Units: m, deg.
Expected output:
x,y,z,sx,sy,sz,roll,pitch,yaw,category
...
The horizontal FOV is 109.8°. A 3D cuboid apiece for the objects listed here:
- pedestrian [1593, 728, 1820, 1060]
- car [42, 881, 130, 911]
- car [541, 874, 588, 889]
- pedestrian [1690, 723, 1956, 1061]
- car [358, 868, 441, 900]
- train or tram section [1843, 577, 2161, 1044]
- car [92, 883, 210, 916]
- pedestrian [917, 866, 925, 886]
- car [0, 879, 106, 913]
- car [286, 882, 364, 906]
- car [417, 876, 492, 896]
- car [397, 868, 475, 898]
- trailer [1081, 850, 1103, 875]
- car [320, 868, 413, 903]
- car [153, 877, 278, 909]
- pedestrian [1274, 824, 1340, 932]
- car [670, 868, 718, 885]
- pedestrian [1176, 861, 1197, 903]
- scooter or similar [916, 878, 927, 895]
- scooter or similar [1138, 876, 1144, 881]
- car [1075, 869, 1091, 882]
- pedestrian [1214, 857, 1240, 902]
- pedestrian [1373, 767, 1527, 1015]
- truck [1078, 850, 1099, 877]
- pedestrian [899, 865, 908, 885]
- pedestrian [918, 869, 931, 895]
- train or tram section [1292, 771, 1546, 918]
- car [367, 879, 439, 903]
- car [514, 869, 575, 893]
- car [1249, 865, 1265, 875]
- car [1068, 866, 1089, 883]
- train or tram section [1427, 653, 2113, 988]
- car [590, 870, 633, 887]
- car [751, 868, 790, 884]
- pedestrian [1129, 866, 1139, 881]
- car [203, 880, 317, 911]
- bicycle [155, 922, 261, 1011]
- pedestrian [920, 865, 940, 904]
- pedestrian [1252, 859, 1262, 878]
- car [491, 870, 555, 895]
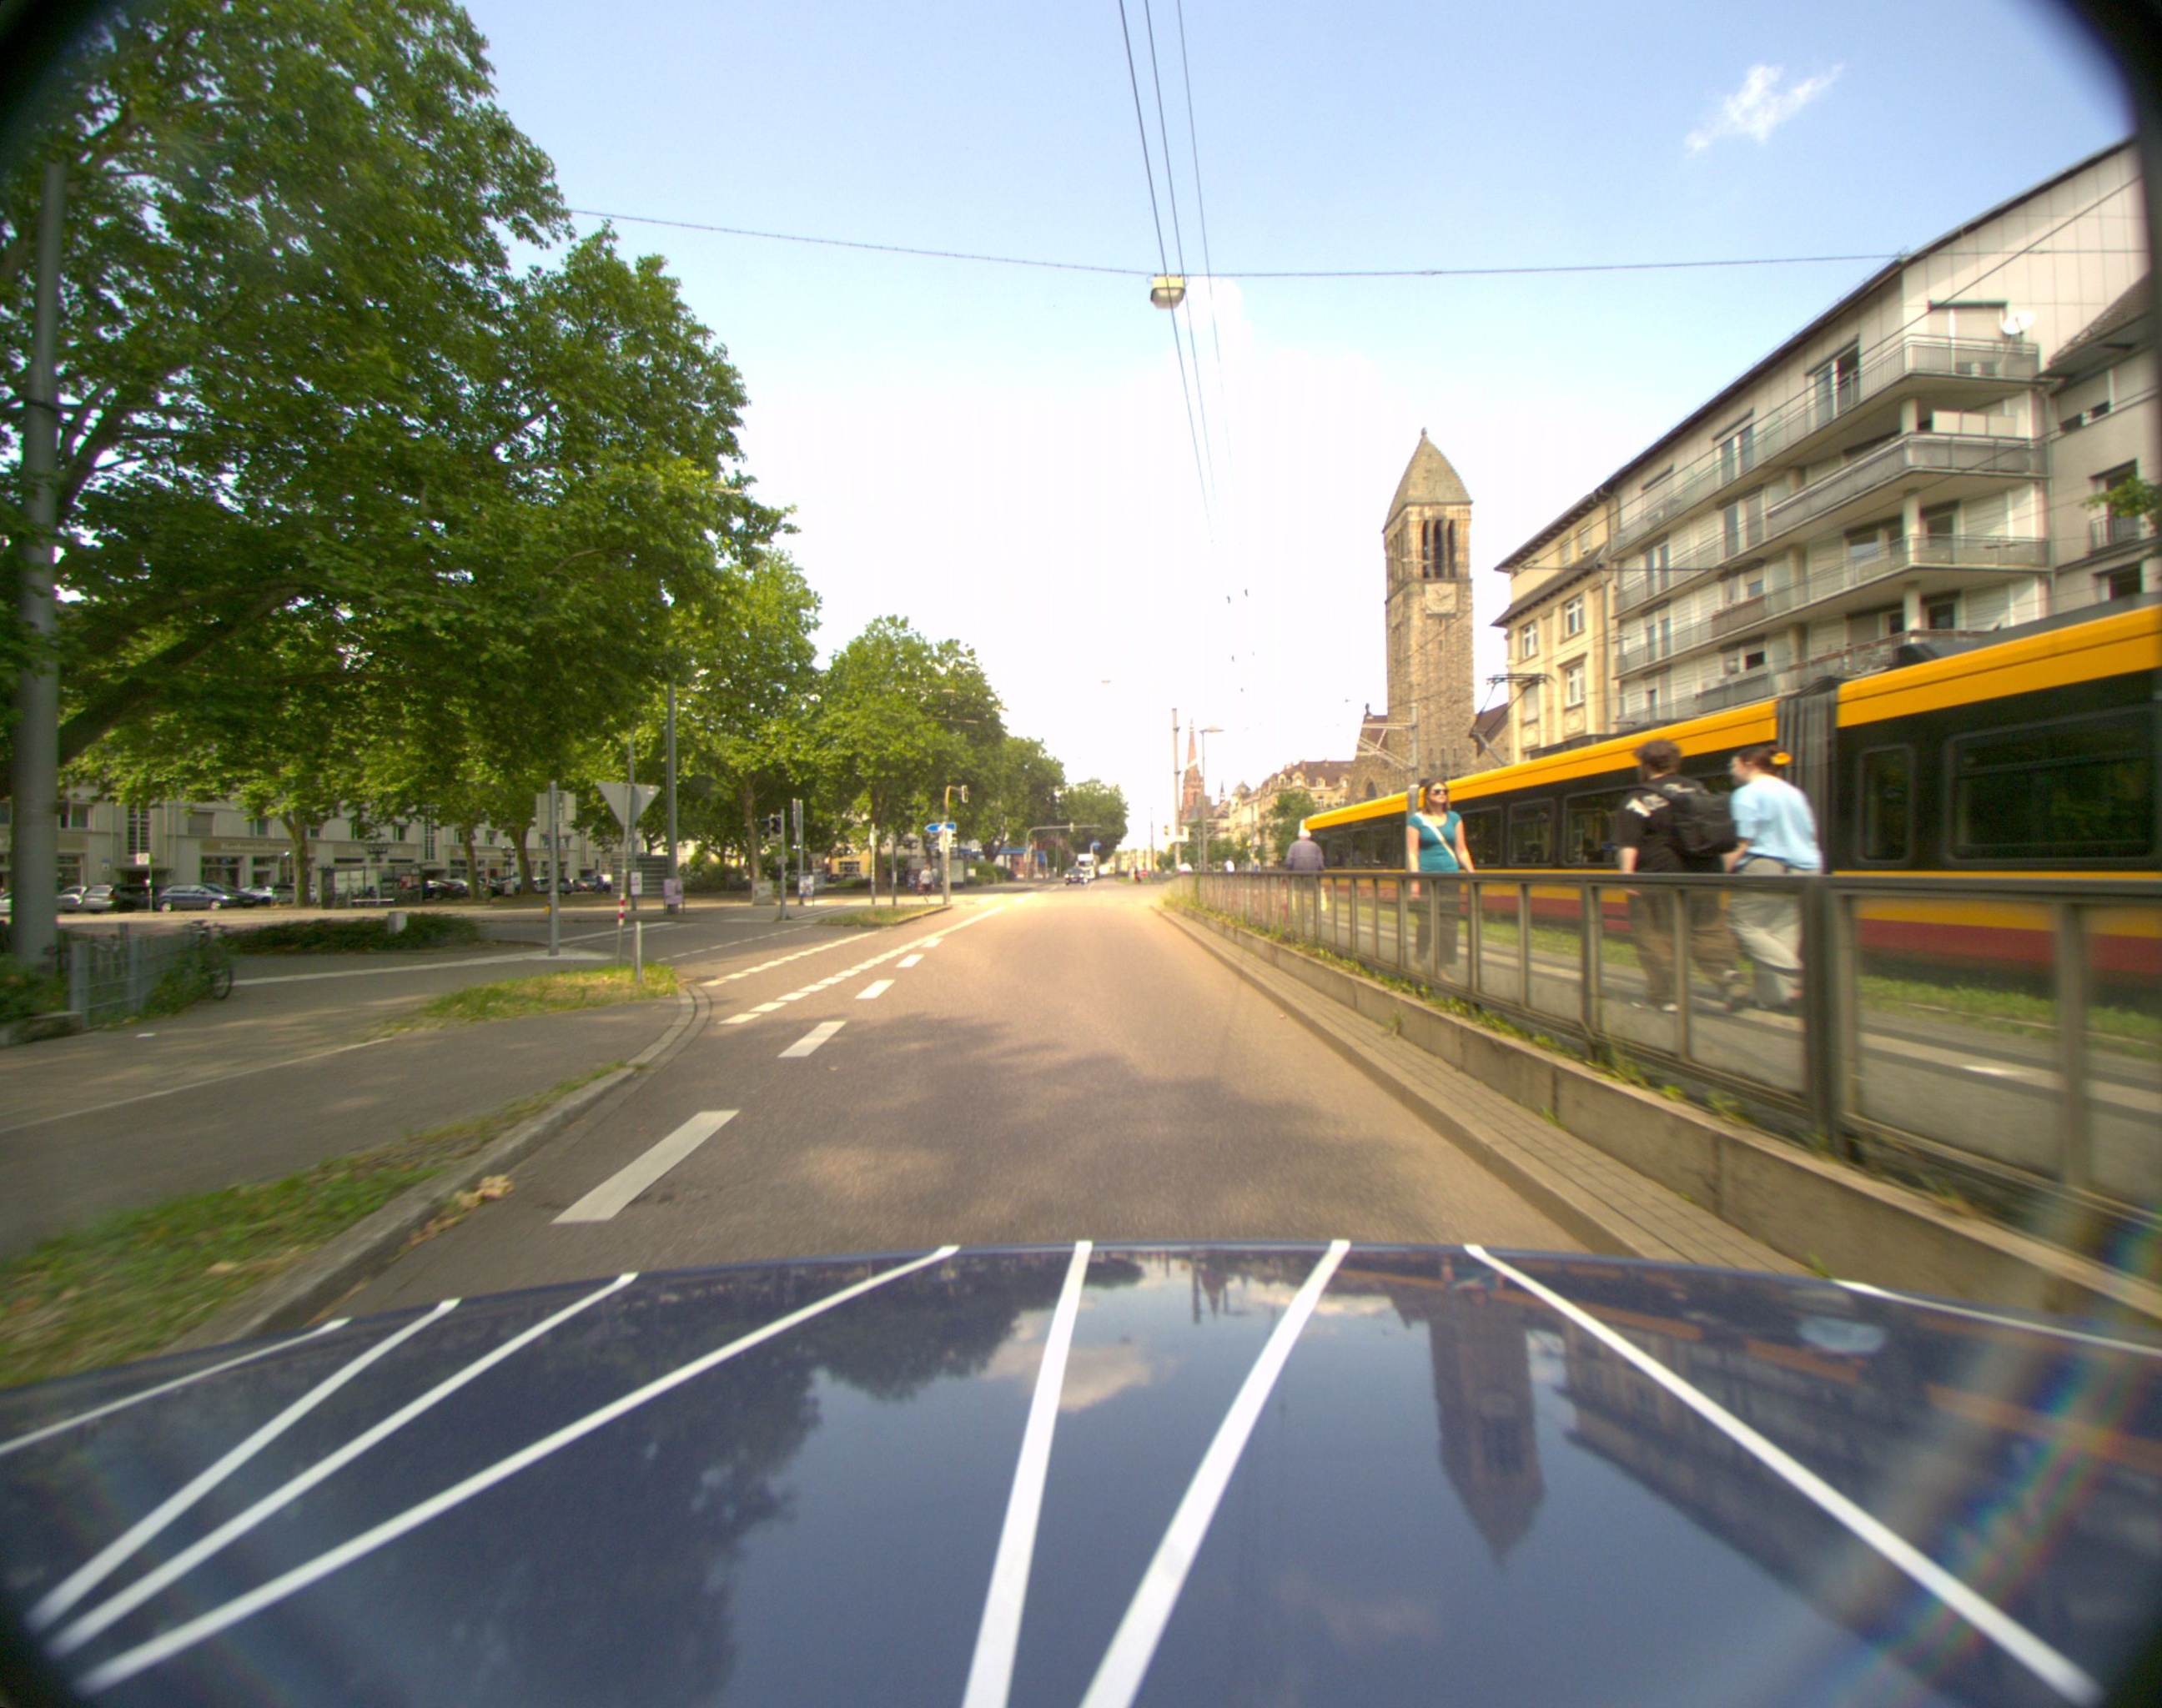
x,y,z,sx,sy,sz,roll,pitch,yaw,category
3.750,0.227,4.627,0.703,1.838,0.789,-1,0,1,pedestrian
-58.509,2.478,44.711,3.065,1.656,1.470,-1,-1,-3,car
-56.881,3.014,83.666,3.996,1.627,1.745,-1,0,3,car
4.424,0.215,4.611,0.703,1.838,0.908,-1,0,1,pedestrian
-47.252,2.077,52.742,3.996,2.063,2.001,-1,-1,2,car
9.501,-0.418,1.694,2.730,3.562,13.019,-1,-1,1,train or tram section
-51.939,2.504,42.584,1.792,1.651,4.312,0,-1,-10,car
-14.102,1.953,66.945,0.606,1.740,0.698,0,0,-22,pedestrian
-58.279,2.333,42.575,4.718,1.785,1.912,-1,0,-1,car
-47.056,2.480,47.313,3.235,1.381,1.470,-1,-1,-5,car
-47.460,2.438,57.603,3.996,1.413,2.001,-1,-1,2,car
-46.811,2.101,55.212,3.996,2.063,2.001,-1,-1,2,car
1.890,1.424,128.899,2.914,4.053,11.656,-1,-1,5,trailer
-46.892,2.034,49.912,4.253,2.169,2.001,-1,-1,2,car
-47.635,2.127,41.886,4.535,1.591,2.034,-1,-1,0,car
3.844,0.402,12.998,0.859,1.764,0.877,-1,0,2,pedestrian
-45.686,2.608,89.744,4.486,1.894,2.105,-1,0,3,car
4.254,1.125,30.662,0.624,1.656,0.677,-1,-1,27,pedestrian
-9.806,2.001,46.651,0.490,1.050,0.709,-1,-1,2,scooter or similar
5.748,2.340,72.992,0.521,0.532,0.310,1,-1,-10,scooter or similar
0.270,2.476,89.720,1.733,1.457,4.328,-1,-1,2,car
5.787,1.003,30.156,0.850,1.769,1.045,-1,-1,2,pedestrian
2.988,0.290,6.245,0.829,1.887,0.846,-1,0,2,pedestrian
1.309,1.485,121.173,2.914,4.124,6.593,-1,-1,4,truck
-15.635,1.872,66.941,0.606,1.740,0.698,0,0,-22,pedestrian
-9.773,1.740,47.484,0.570,1.636,0.923,-1,-1,2,pedestrian
10.098,-0.129,25.135,2.814,3.562,13.019,-1,-1,1,train or tram section
-42.809,2.315,48.034,3.066,1.381,1.469,-1,-1,-7,car
-47.675,2.382,67.598,3.997,2.001,2.000,-1,0,0,car
27.980,2.523,121.153,1.788,1.486,3.839,-1,-1,2,car
-0.254,2.034,76.355,1.853,1.716,4.421,-1,-1,3,car
9.812,-0.273,13.426,2.802,3.562,10.406,-1,-1,1,train or tram section
-56.847,2.989,92.058,3.996,1.952,2.001,-1,0,3,car
-38.072,2.714,93.260,3.996,1.789,1.870,-1,0,3,car
5.046,1.851,72.671,0.776,1.483,0.658,1,-1,-10,pedestrian
-48.216,2.403,44.685,4.535,1.680,1.912,-1,0,0,car
-11.279,1.416,9.808,1.724,1.003,0.535,-1,-1,29,bicycle
-6.982,1.382,35.131,0.694,1.772,0.887,-1,-1,4,pedestrian
16.678,1.365,72.081,0.771,1.721,0.744,-1,-1,1,pedestrian
-47.801,2.421,65.119,3.996,2.001,2.001,-1,0,3,car
